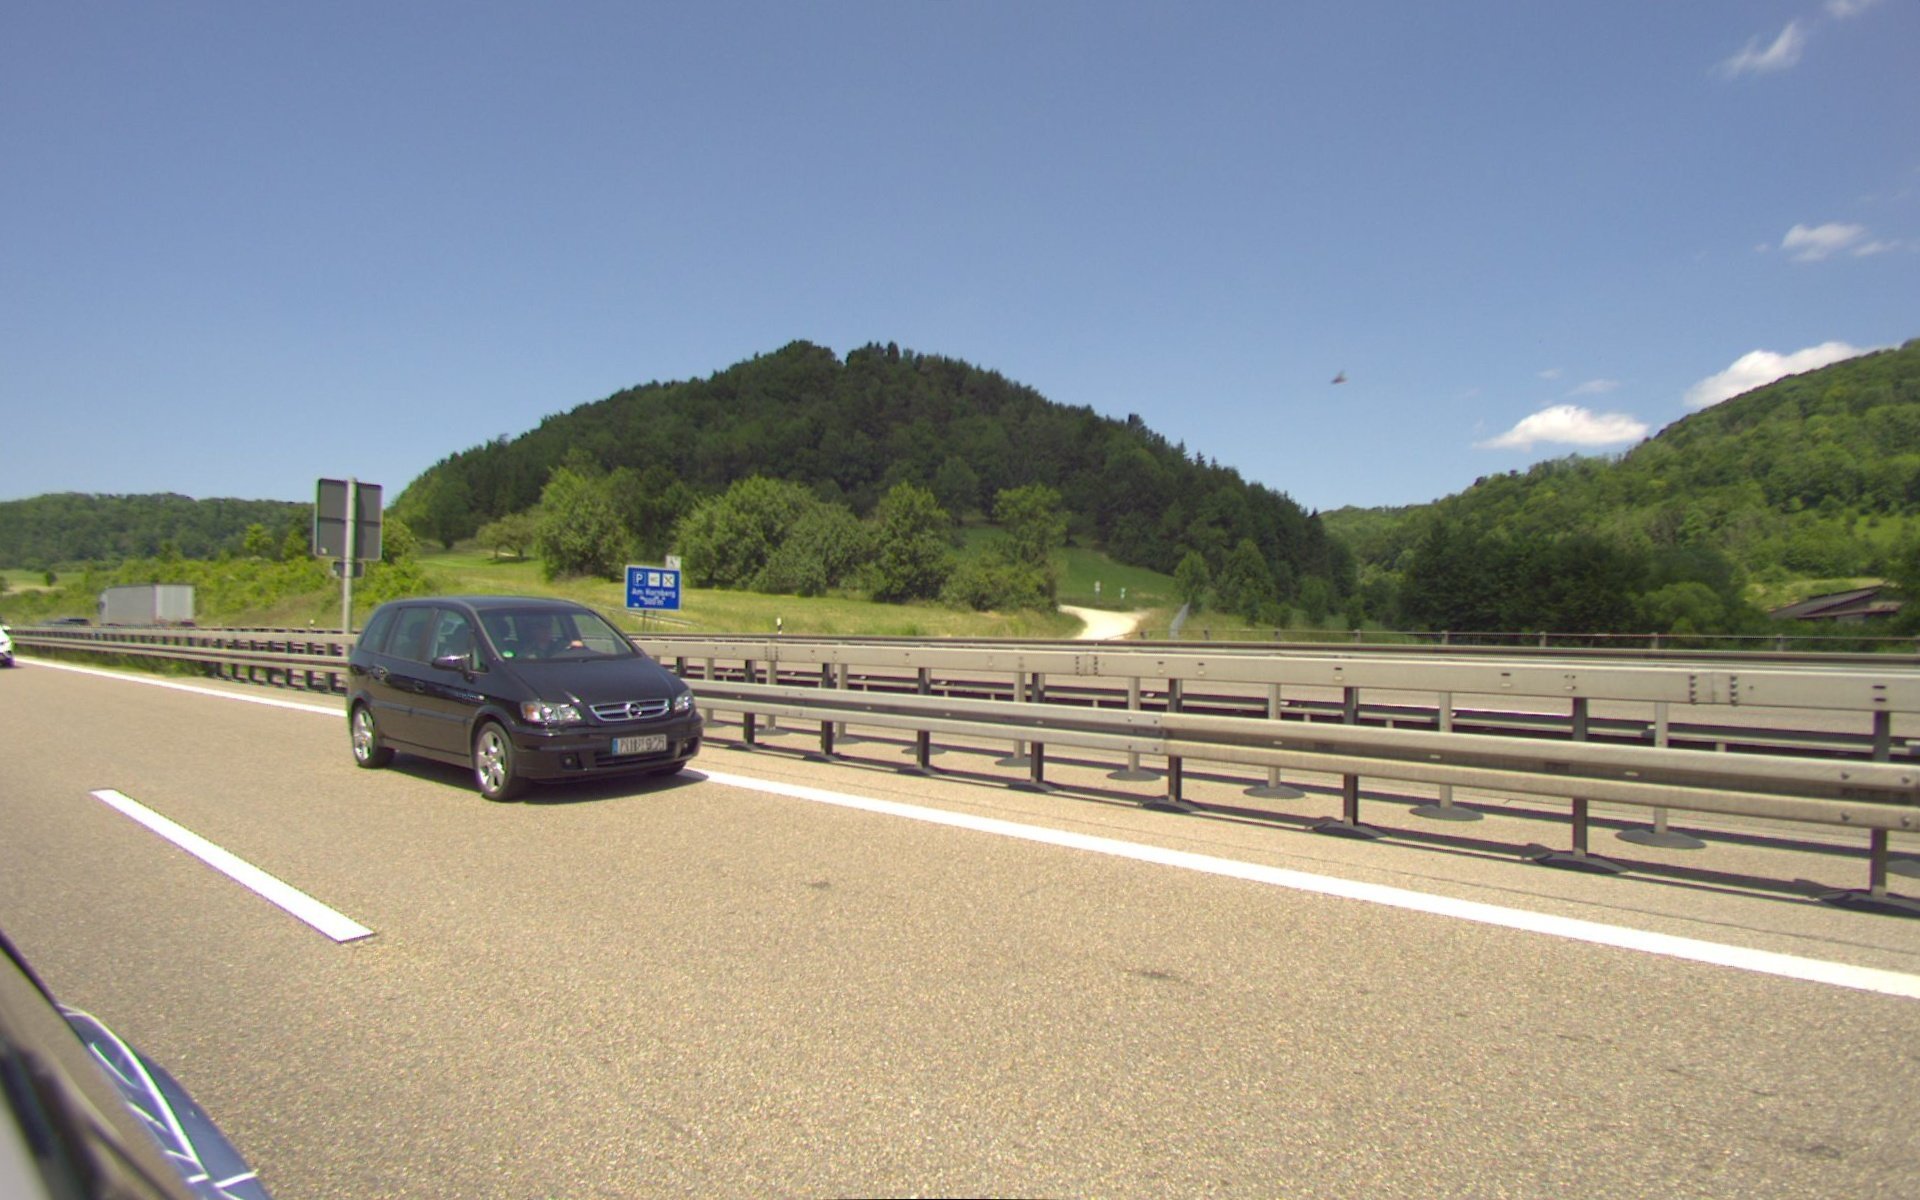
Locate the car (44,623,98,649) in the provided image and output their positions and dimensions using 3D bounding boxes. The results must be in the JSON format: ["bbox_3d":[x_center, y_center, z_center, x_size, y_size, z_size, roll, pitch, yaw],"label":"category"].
[{"bbox_3d":[-53.250,2.121,60.589,4.624,1.479,1.732,-1,-1,40],"label":"car"}]

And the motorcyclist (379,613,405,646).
[{"bbox_3d":[-26.660,1.392,47.478,0.838,1.512,0.835,-1,-1,40],"label":"motorcyclist"}]

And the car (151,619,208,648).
[{"bbox_3d":[-46.204,1.957,59.904,4.353,1.630,1.850,-1,-1,41],"label":"car"}]

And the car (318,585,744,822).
[{"bbox_3d":[-4.049,0.763,9.177,4.443,1.647,1.782,-1,-1,41],"label":"car"}]

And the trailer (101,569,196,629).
[{"bbox_3d":[-62.105,-0.031,77.310,12.989,4.236,3.214,0,0,40],"label":"trailer"}]

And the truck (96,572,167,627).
[{"bbox_3d":[-66.111,-0.012,80.718,6.950,4.179,3.244,-1,0,41],"label":"truck"}]

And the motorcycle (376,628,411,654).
[{"bbox_3d":[-26.535,1.916,47.368,2.128,1.158,0.710,-1,-1,40],"label":"motorcycle"}]

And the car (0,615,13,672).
[{"bbox_3d":[-29.531,1.283,29.836,3.998,1.634,1.973,-1,-1,41],"label":"car"}]

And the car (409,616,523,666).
[{"bbox_3d":[-16.381,1.319,33.489,3.998,1.508,1.973,-1,0,41],"label":"car"}]
